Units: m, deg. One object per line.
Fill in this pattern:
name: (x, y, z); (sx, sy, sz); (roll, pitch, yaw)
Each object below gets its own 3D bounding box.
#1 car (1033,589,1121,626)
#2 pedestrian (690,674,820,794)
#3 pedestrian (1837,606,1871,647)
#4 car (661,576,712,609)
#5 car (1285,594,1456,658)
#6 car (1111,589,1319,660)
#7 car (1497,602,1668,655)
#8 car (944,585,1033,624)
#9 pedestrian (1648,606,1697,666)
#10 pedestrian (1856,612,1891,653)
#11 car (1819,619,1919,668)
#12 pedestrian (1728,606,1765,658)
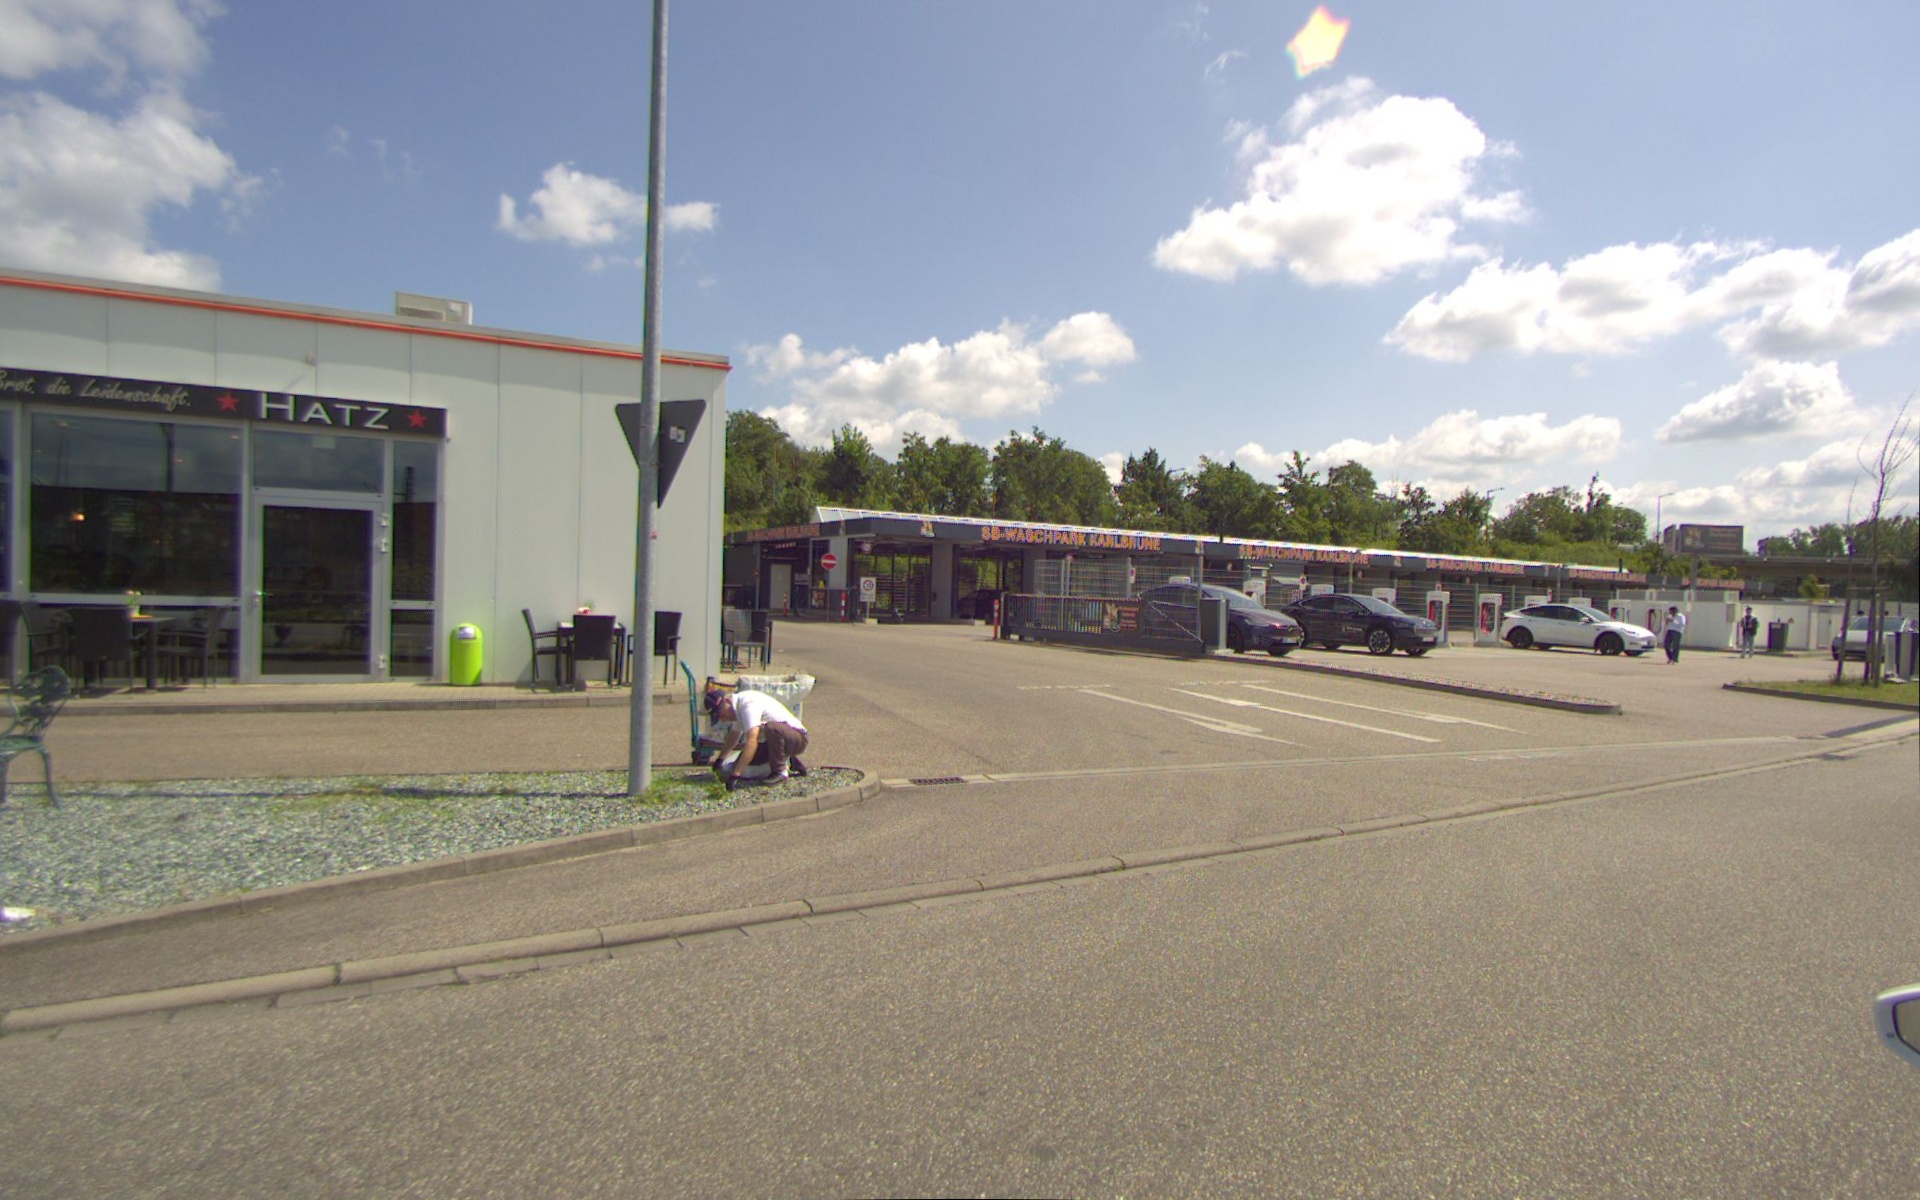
car: (5.324, 0.325, 46.137); (1.979, 1.583, 3.964); (2, 0, -33)
pedestrian: (-1.607, 1.004, 7.784); (0.807, 0.770, 0.859); (1, 1, -25)
pedestrian: (36.176, 1.062, 40.656); (0.699, 1.586, 0.759); (2, 0, 6)
car: (-13.778, -0.392, 50.477); (1.864, 1.525, 3.976); (2, 0, -24)
car: (11.384, 0.686, 28.064); (1.979, 1.539, 3.962); (2, 1, -34)
car: (6.199, 0.544, 24.941); (2.215, 1.475, 4.713); (1, 1, -35)
car: (21.130, 0.936, 34.293); (1.980, 1.544, 4.520); (2, 1, -35)
car: (1.176, 0.170, 43.705); (1.979, 1.583, 3.964); (2, 0, -33)
pedestrian: (20.821, 1.046, 29.364); (0.932, 1.675, 0.856); (1, 1, -36)
pedestrian: (36.226, 1.274, 39.855); (0.707, 1.600, 0.714); (2, 0, 5)
car: (33.930, 1.556, 37.219); (4.723, 1.538, 1.919); (0, 2, -33)
pedestrian: (28.060, 1.132, 35.825); (0.721, 1.775, 0.855); (1, 1, -41)
